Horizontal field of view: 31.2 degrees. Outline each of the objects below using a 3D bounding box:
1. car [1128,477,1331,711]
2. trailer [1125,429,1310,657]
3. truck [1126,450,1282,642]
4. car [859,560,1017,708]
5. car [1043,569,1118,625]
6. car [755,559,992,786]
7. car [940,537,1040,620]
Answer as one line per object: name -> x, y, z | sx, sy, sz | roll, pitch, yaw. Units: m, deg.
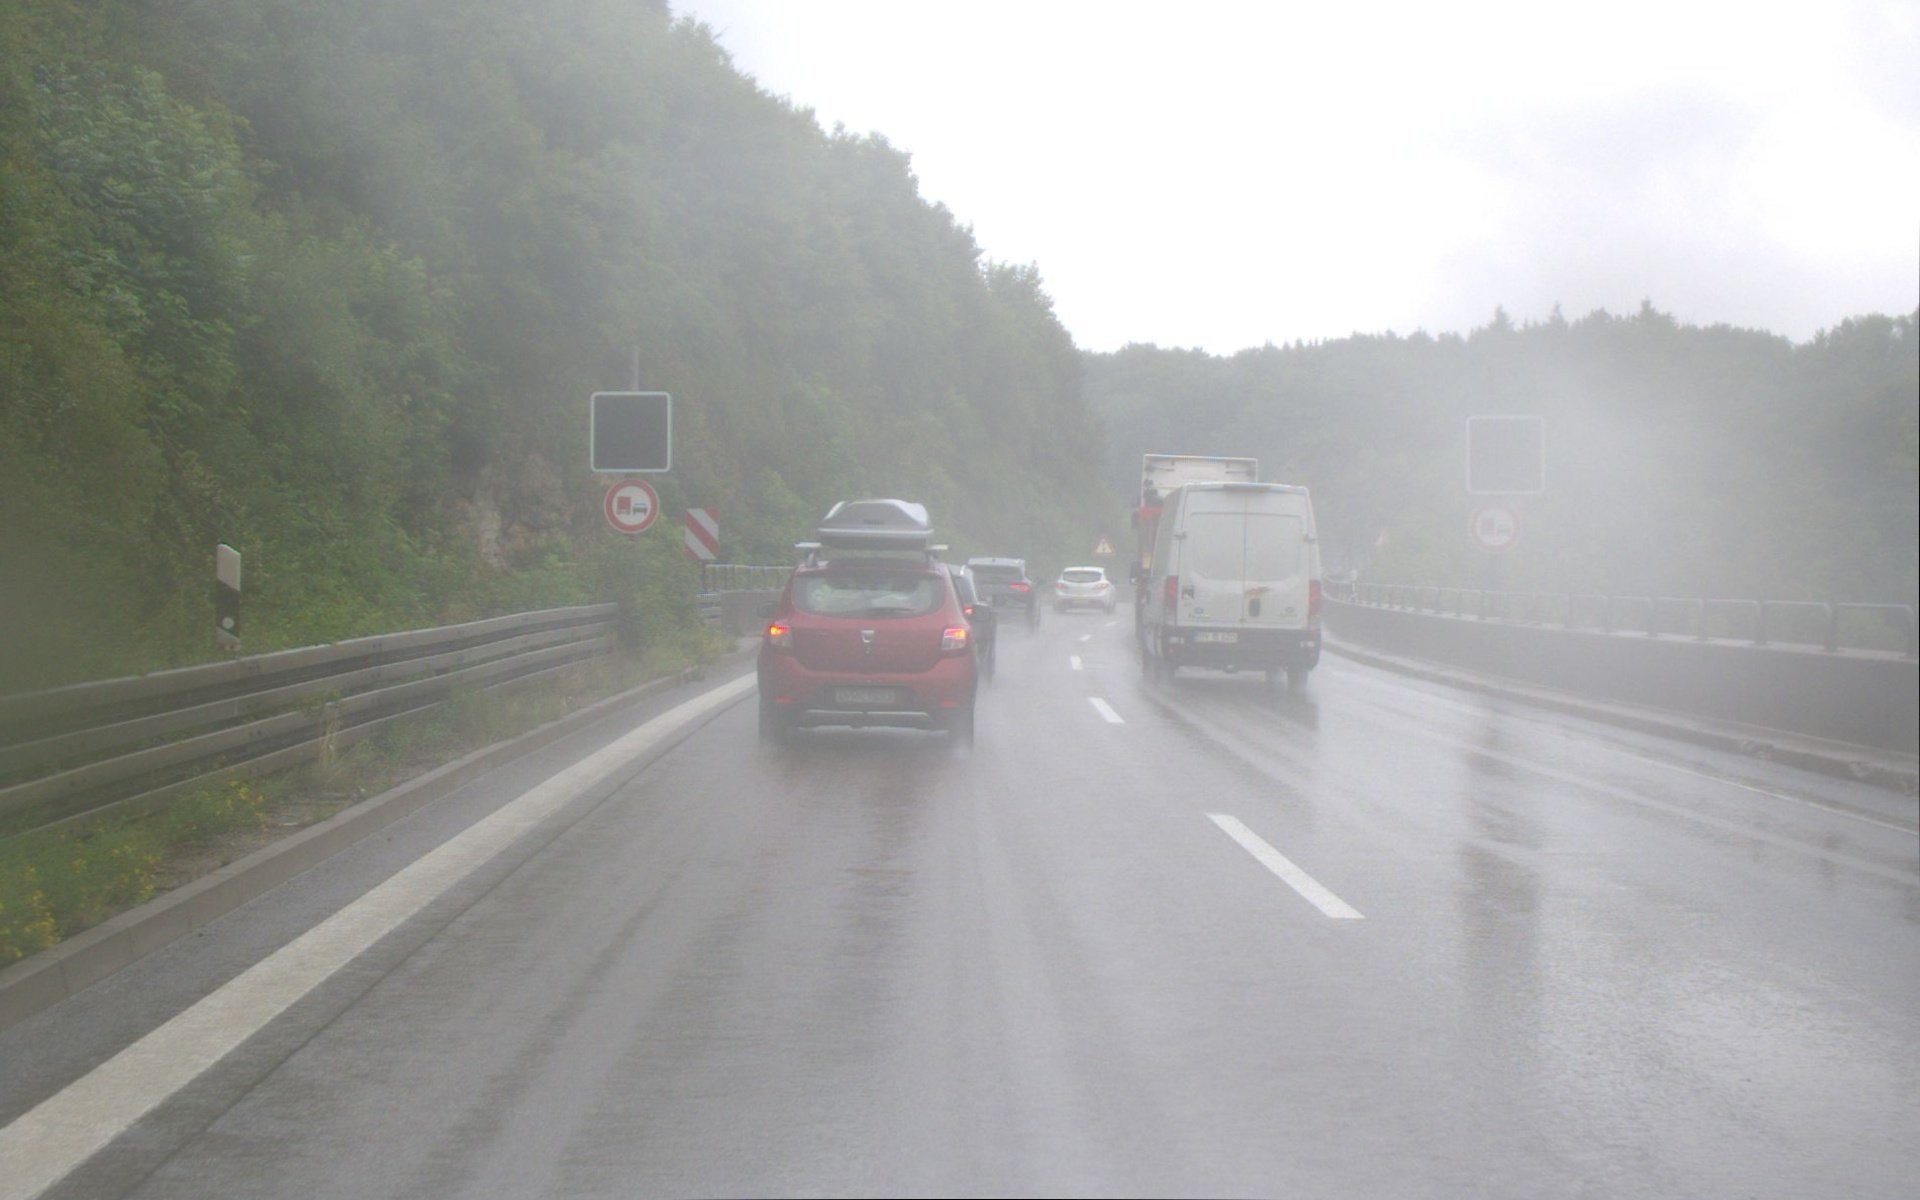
car -> 3.461, -0.109, 45.580 | 2.206, 2.784, 7.382 | 2, 1, 1
trailer -> 4.854, -1.062, 67.129 | 3.218, 3.985, 13.522 | 0, 0, 3
truck -> 5.216, -1.142, 73.996 | 3.220, 3.964, 5.438 | 0, 0, 3
car -> -0.252, 0.405, 42.790 | 1.833, 1.709, 3.645 | -2, 0, 0
car -> 3.742, -0.087, 105.916 | 1.994, 1.634, 3.999 | -2, 0, 6
car -> -0.672, 0.546, 28.244 | 1.758, 1.679, 4.000 | -2, 0, 0
car -> 0.675, -0.465, 74.344 | 1.875, 1.700, 3.888 | -2, 0, 4
